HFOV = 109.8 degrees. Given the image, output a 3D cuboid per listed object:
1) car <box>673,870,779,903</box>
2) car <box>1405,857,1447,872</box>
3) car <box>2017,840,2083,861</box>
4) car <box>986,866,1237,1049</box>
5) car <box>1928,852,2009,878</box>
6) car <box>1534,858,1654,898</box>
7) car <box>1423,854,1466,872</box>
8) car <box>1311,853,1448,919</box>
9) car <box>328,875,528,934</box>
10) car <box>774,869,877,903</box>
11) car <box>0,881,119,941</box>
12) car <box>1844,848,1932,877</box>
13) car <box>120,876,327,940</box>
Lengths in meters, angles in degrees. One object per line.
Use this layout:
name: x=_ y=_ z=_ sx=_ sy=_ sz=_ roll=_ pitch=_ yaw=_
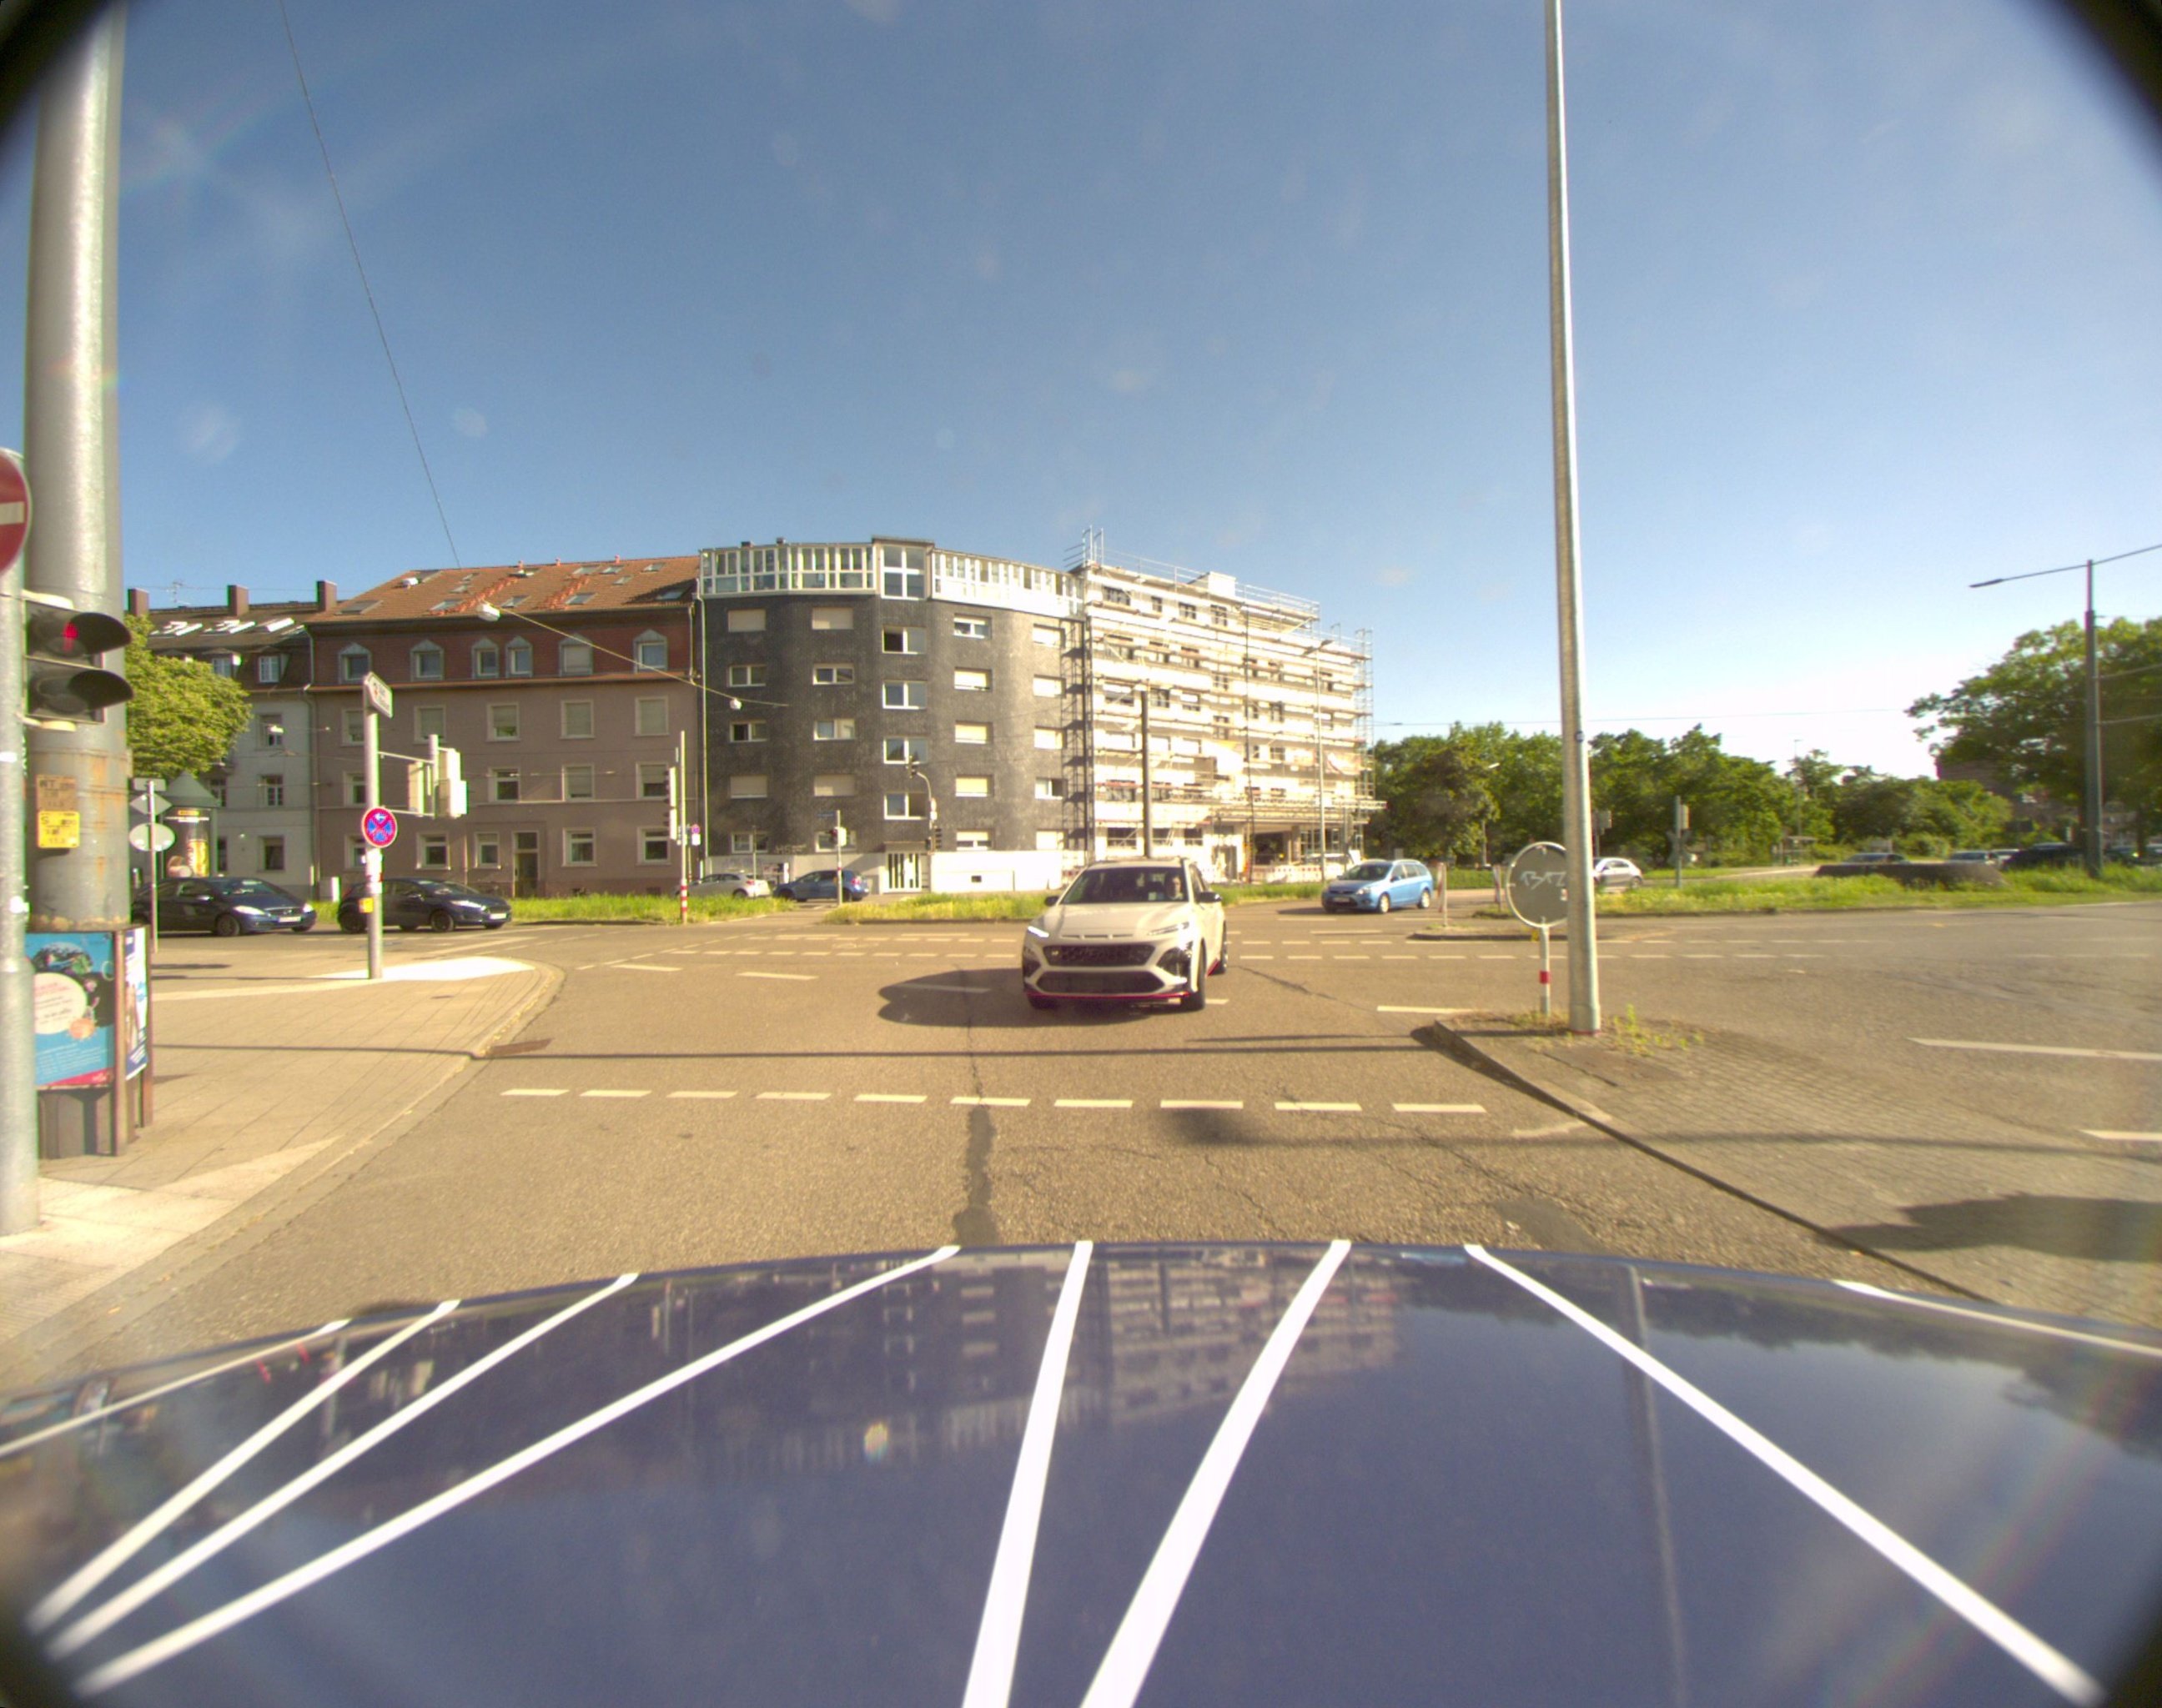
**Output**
car: x=-15.987 y=1.456 z=34.298 sx=3.995 sy=1.407 sz=1.689 roll=-1 pitch=0 yaw=5
car: x=32.822 y=0.986 z=72.247 sx=3.690 sy=1.386 sz=1.818 roll=-1 pitch=0 yaw=-29
car: x=68.386 y=-0.270 z=53.613 sx=4.490 sy=1.447 sz=1.870 roll=-1 pitch=0 yaw=-24
car: x=0.677 y=0.945 z=9.007 sx=1.902 sy=1.543 sz=4.491 roll=-1 pitch=0 yaw=17
car: x=52.071 y=0.608 z=44.569 sx=4.490 sy=1.447 sz=1.870 roll=-1 pitch=0 yaw=-24
car: x=20.271 y=0.912 z=30.015 sx=4.491 sy=1.447 sz=1.870 roll=-1 pitch=0 yaw=-25
car: x=33.529 y=0.805 z=70.076 sx=3.690 sy=1.574 sz=1.818 roll=-1 pitch=0 yaw=-29
car: x=8.990 y=0.888 z=22.729 sx=4.494 sy=1.765 sz=1.869 roll=0 pitch=0 yaw=-40
car: x=-17.166 y=1.313 z=20.070 sx=3.995 sy=1.444 sz=1.736 roll=-1 pitch=-1 yaw=7
car: x=-11.361 y=1.407 z=33.925 sx=3.995 sy=1.407 sz=1.689 roll=-1 pitch=0 yaw=5
car: x=-30.191 y=1.588 z=21.590 sx=3.995 sy=1.571 sz=1.660 roll=-1 pitch=0 yaw=7
car: x=43.208 y=0.439 z=40.679 sx=4.490 sy=1.447 sz=1.870 roll=-1 pitch=0 yaw=-24
car: x=-22.887 y=1.419 z=20.347 sx=3.995 sy=1.571 sz=1.660 roll=-1 pitch=0 yaw=7
